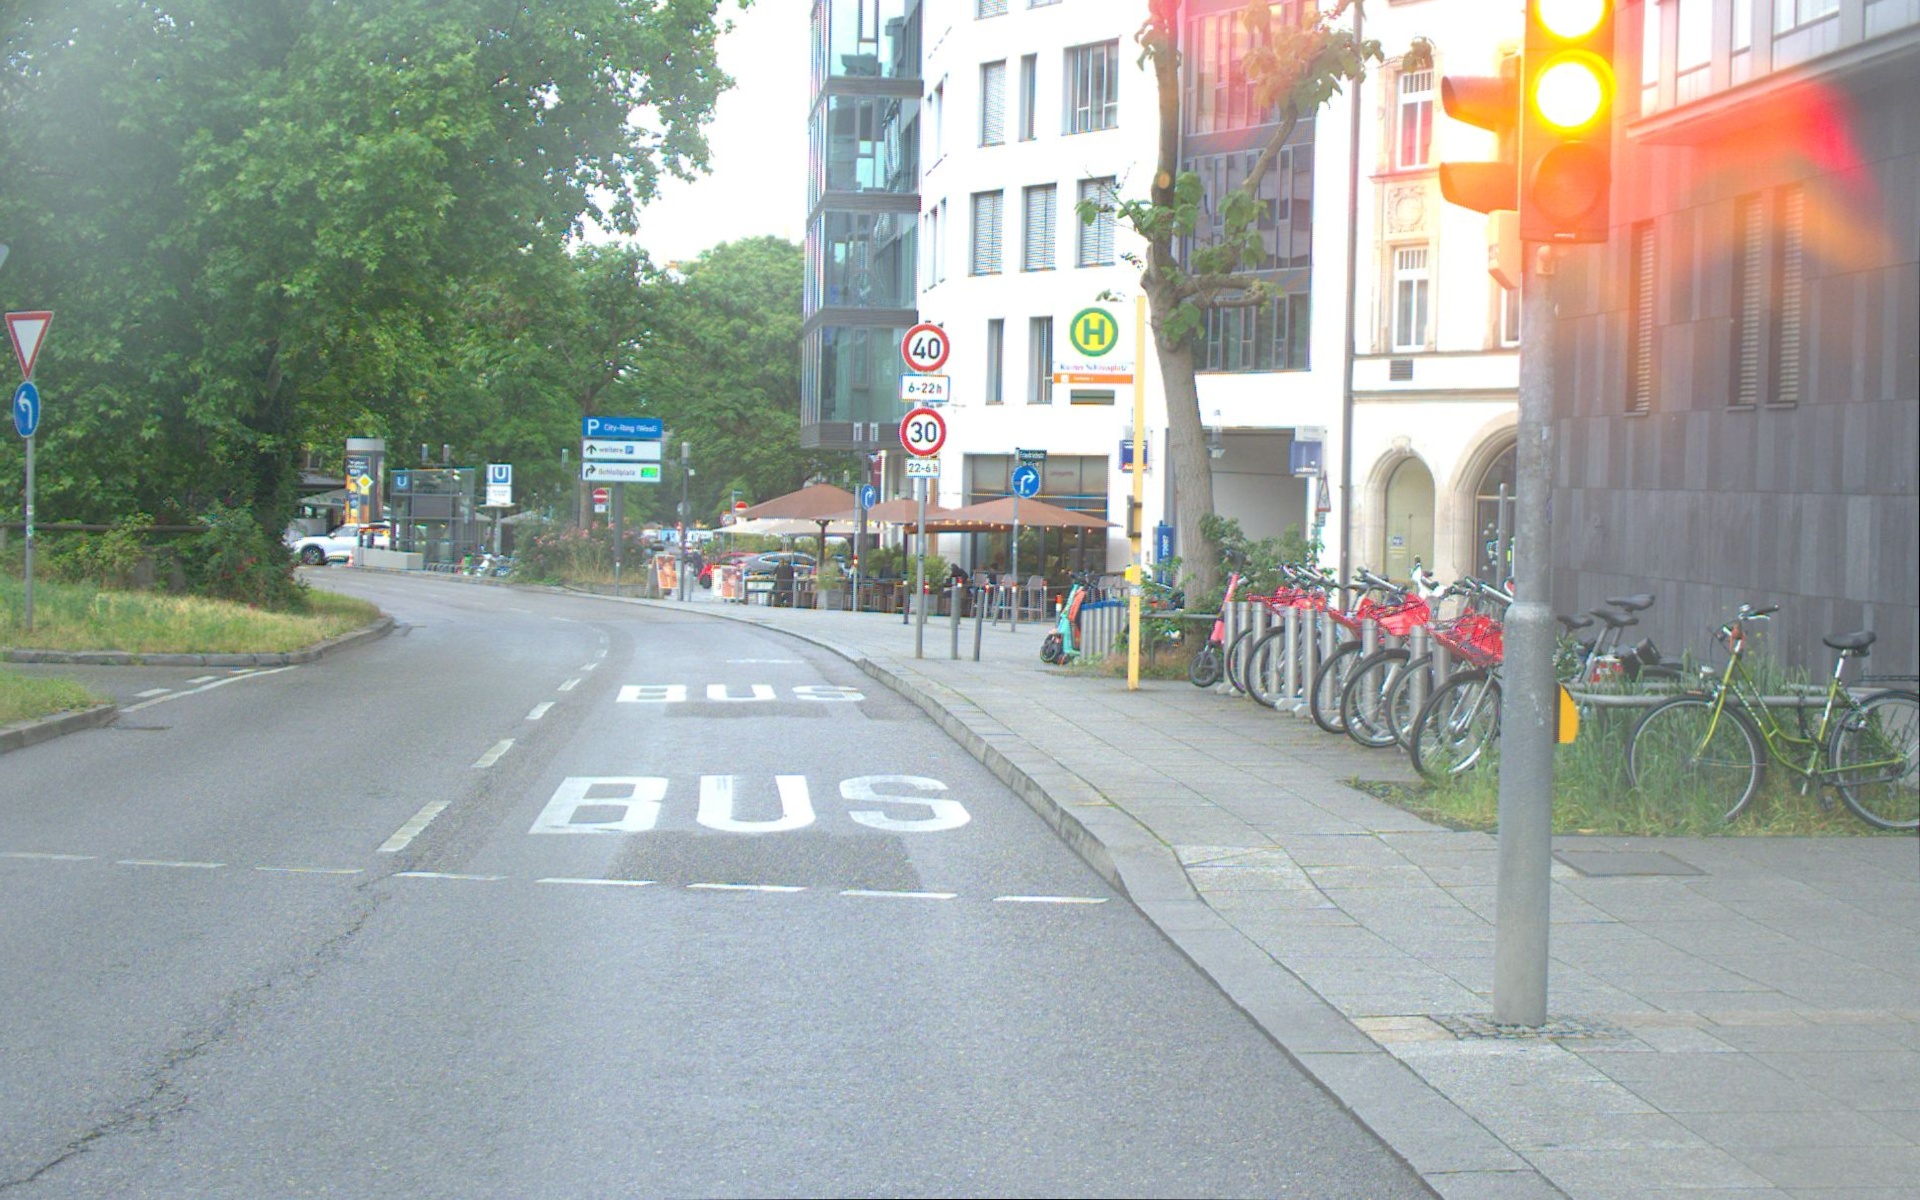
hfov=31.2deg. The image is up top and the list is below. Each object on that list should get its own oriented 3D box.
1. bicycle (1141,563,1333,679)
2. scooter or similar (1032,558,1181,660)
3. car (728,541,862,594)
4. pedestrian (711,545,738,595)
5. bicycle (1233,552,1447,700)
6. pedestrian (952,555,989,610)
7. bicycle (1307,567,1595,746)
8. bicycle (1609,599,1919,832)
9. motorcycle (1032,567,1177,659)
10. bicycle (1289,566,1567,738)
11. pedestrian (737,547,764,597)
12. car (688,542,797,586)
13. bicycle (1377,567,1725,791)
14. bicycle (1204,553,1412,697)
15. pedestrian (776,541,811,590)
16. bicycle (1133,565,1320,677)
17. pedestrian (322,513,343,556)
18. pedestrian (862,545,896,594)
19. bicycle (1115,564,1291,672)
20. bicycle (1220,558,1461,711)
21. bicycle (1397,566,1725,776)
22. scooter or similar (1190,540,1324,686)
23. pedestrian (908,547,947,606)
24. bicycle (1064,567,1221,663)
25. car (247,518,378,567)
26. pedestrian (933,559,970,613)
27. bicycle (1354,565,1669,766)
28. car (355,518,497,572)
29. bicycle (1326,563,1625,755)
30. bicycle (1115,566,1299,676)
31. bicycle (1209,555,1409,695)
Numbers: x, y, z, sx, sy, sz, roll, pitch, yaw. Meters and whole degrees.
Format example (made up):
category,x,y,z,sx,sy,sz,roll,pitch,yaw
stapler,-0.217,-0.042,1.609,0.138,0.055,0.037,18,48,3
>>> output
category,x,y,z,sx,sy,sz,roll,pitch,yaw
bicycle,2.769,0.210,34.456,1.794,1.064,0.556,3,0,-9
scooter or similar,1.901,0.118,44.702,1.791,1.239,0.596,3,0,-9
car,-6.005,-1.186,124.697,4.734,1.685,2.005,2,1,-5
pedestrian,-6.438,-0.826,93.874,0.606,1.322,0.568,4,0,-8
bicycle,3.017,0.206,27.357,1.534,1.136,0.689,1,0,-10
pedestrian,0.270,-0.434,86.144,0.626,1.322,0.636,4,0,-29
bicycle,3.215,0.365,22.575,1.729,1.136,0.689,0,1,-10
bicycle,4.062,0.541,16.460,1.729,1.066,0.689,0,1,-10
motorcycle,1.909,0.170,45.483,1.791,1.136,0.596,3,0,-9
bicycle,3.173,0.346,23.357,1.729,1.136,0.689,0,1,-10
pedestrian,-5.738,-0.778,93.951,0.606,1.322,0.568,4,0,-8
car,-8.352,-1.377,131.817,3.997,1.505,1.796,4,2,41
bicycle,3.222,0.422,18.789,1.729,1.179,0.689,0,1,-10
bicycle,2.842,0.204,28.121,1.534,1.136,0.689,1,0,-10
pedestrian,-4.647,-0.964,95.877,0.817,1.322,0.636,4,0,-8
bicycle,2.740,0.217,35.360,1.794,1.064,0.556,3,0,-9
pedestrian,-25.457,-2.654,139.486,0.722,1.696,0.618,1,0,3
pedestrian,-2.273,-0.849,96.266,0.817,1.322,0.636,4,0,-8
bicycle,2.680,0.201,38.000,1.794,1.104,0.670,3,0,-10
bicycle,2.938,0.264,26.577,1.705,1.136,0.689,1,0,-10
bicycle,3.476,0.402,19.942,1.729,1.179,0.689,0,1,-10
scooter or similar,2.601,0.117,30.119,1.105,1.253,0.302,1,0,-11
pedestrian,-0.765,-0.556,80.861,0.773,1.322,0.636,4,0,-9
bicycle,2.257,0.186,42.638,1.794,1.104,0.670,3,0,-10
car,-24.000,-2.138,127.472,4.332,1.660,1.952,2,0,8
pedestrian,-0.209,-0.354,87.445,0.626,1.322,0.636,4,0,-29
bicycle,3.321,0.388,20.752,1.729,1.179,0.689,0,1,-10
car,-18.734,-1.943,120.754,4.734,1.685,2.005,2,1,-5
bicycle,3.250,0.367,21.727,1.729,1.179,0.689,0,1,-10
bicycle,2.590,0.218,36.109,1.794,1.064,0.556,3,0,-9
bicycle,2.938,0.212,28.980,1.534,1.136,0.663,1,0,-10
